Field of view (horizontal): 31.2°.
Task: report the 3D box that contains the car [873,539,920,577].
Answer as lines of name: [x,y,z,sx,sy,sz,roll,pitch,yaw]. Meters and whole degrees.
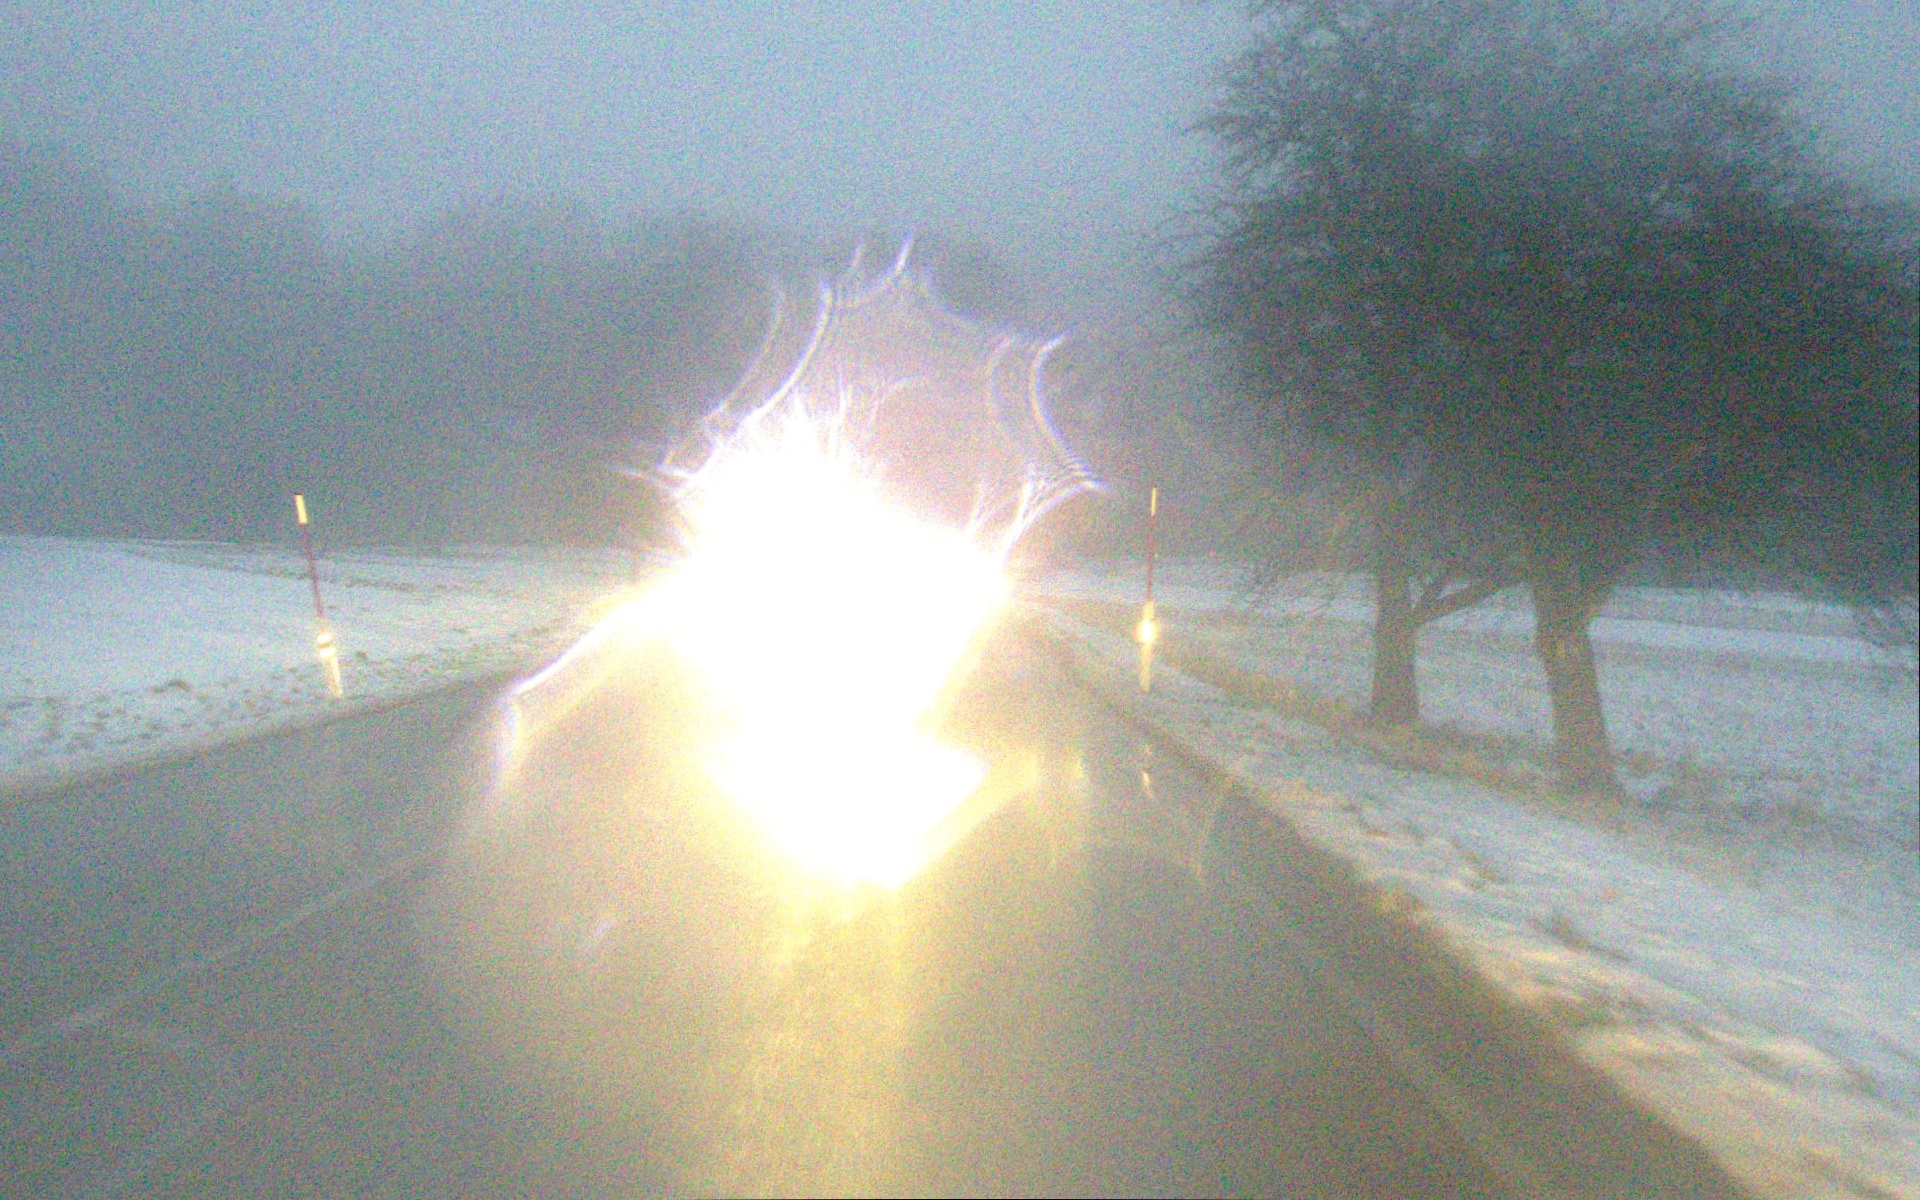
car: [-2.802,-1.873,152.280,1.692,1.546,3.856,1,2,4]
